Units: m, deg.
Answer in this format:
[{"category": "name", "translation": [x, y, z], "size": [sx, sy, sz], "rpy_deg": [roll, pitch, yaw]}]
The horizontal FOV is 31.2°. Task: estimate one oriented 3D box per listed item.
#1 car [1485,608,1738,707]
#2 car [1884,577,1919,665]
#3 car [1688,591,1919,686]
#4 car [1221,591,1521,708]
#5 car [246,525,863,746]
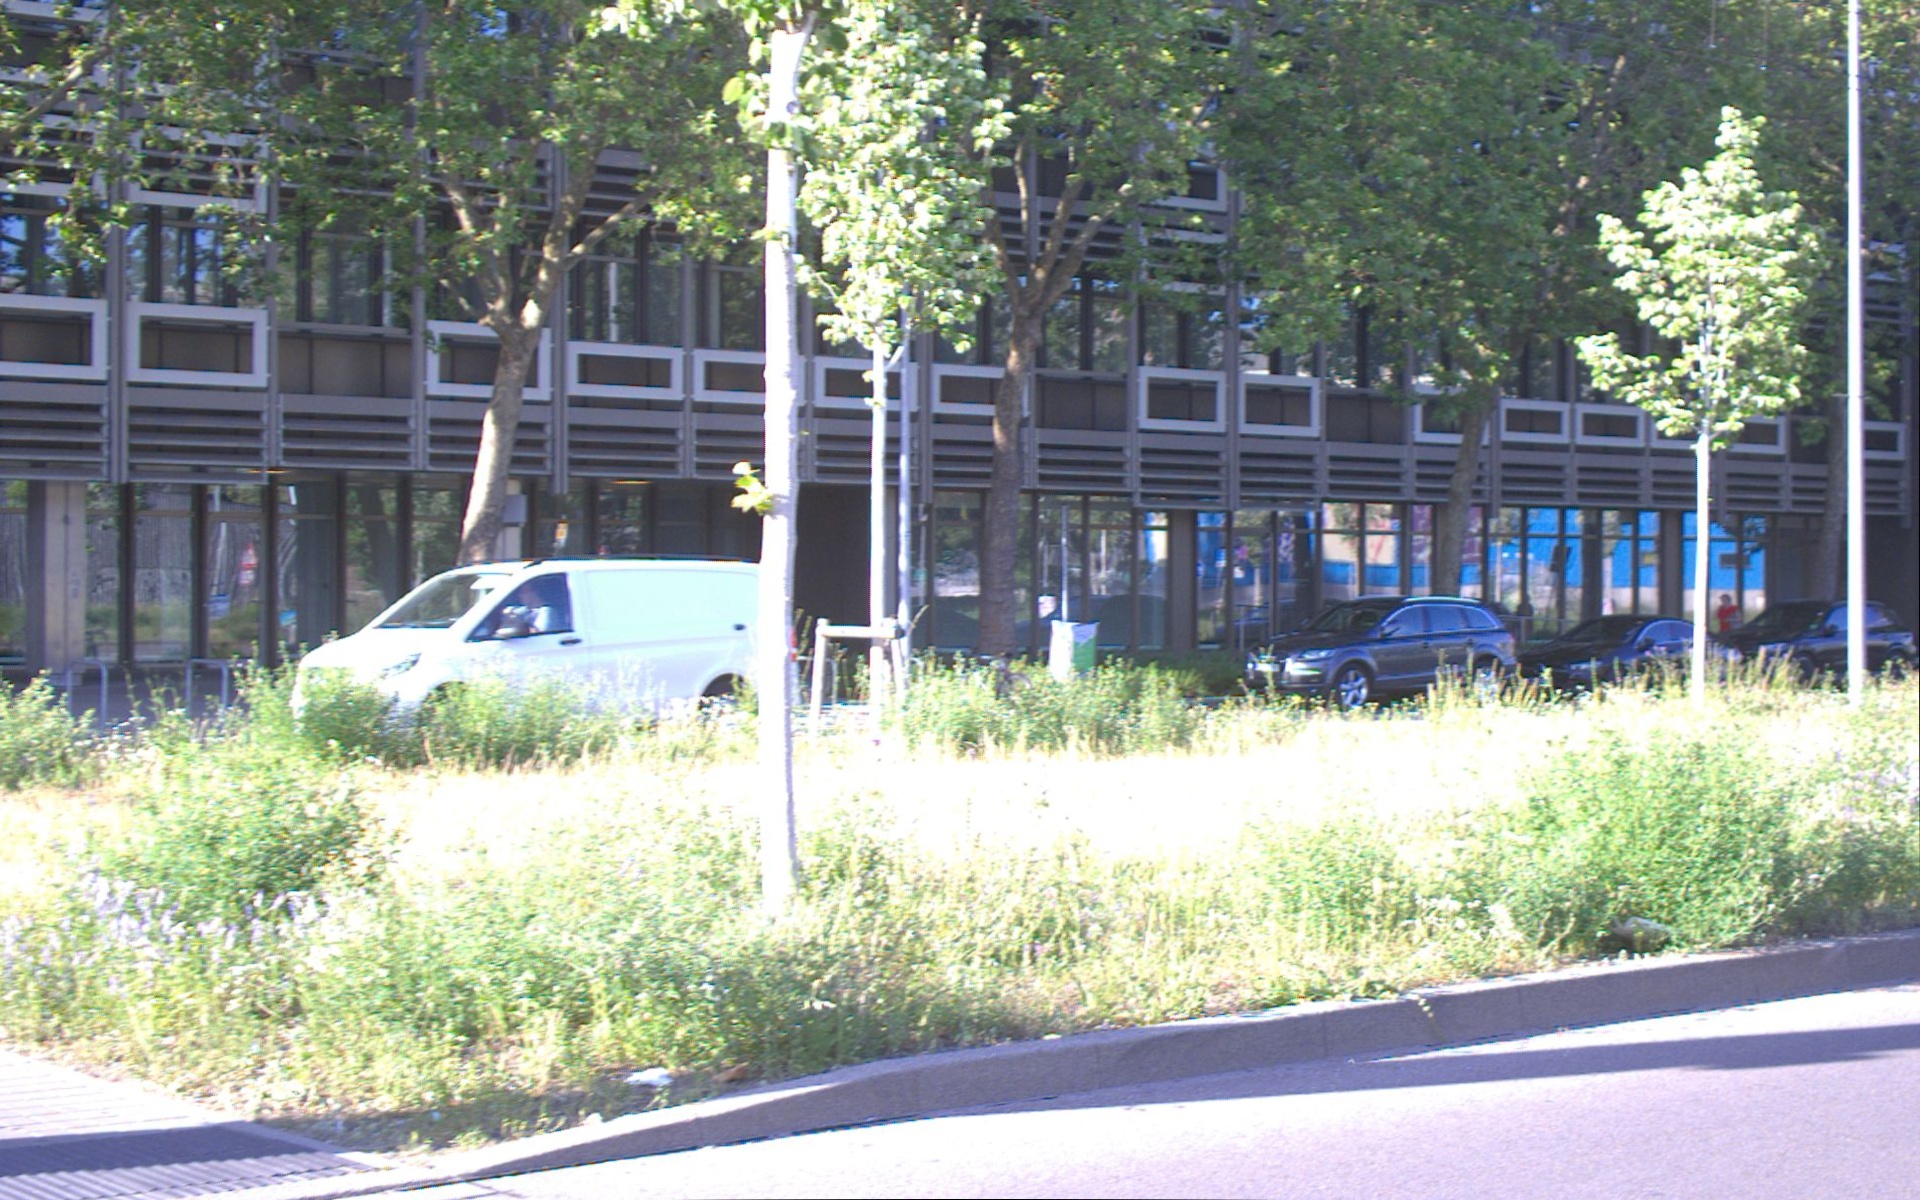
[{"category": "car", "translation": [10.848, 0.926, 57.125], "size": [3.988, 1.515, 1.999], "rpy_deg": [0, 1, -39]}, {"category": "car", "translation": [19.731, 0.380, 65.484], "size": [4.349, 1.627, 1.916], "rpy_deg": [0, -1, -40]}, {"category": "car", "translation": [14.991, 0.656, 60.883], "size": [4.610, 1.552, 1.749], "rpy_deg": [0, 2, -43]}, {"category": "car", "translation": [6.436, 0.734, 53.494], "size": [4.855, 1.674, 1.999], "rpy_deg": [0, 2, -44]}, {"category": "car", "translation": [-3.907, 0.337, 33.822], "size": [5.692, 2.007, 2.265], "rpy_deg": [0, -1, -40]}]
